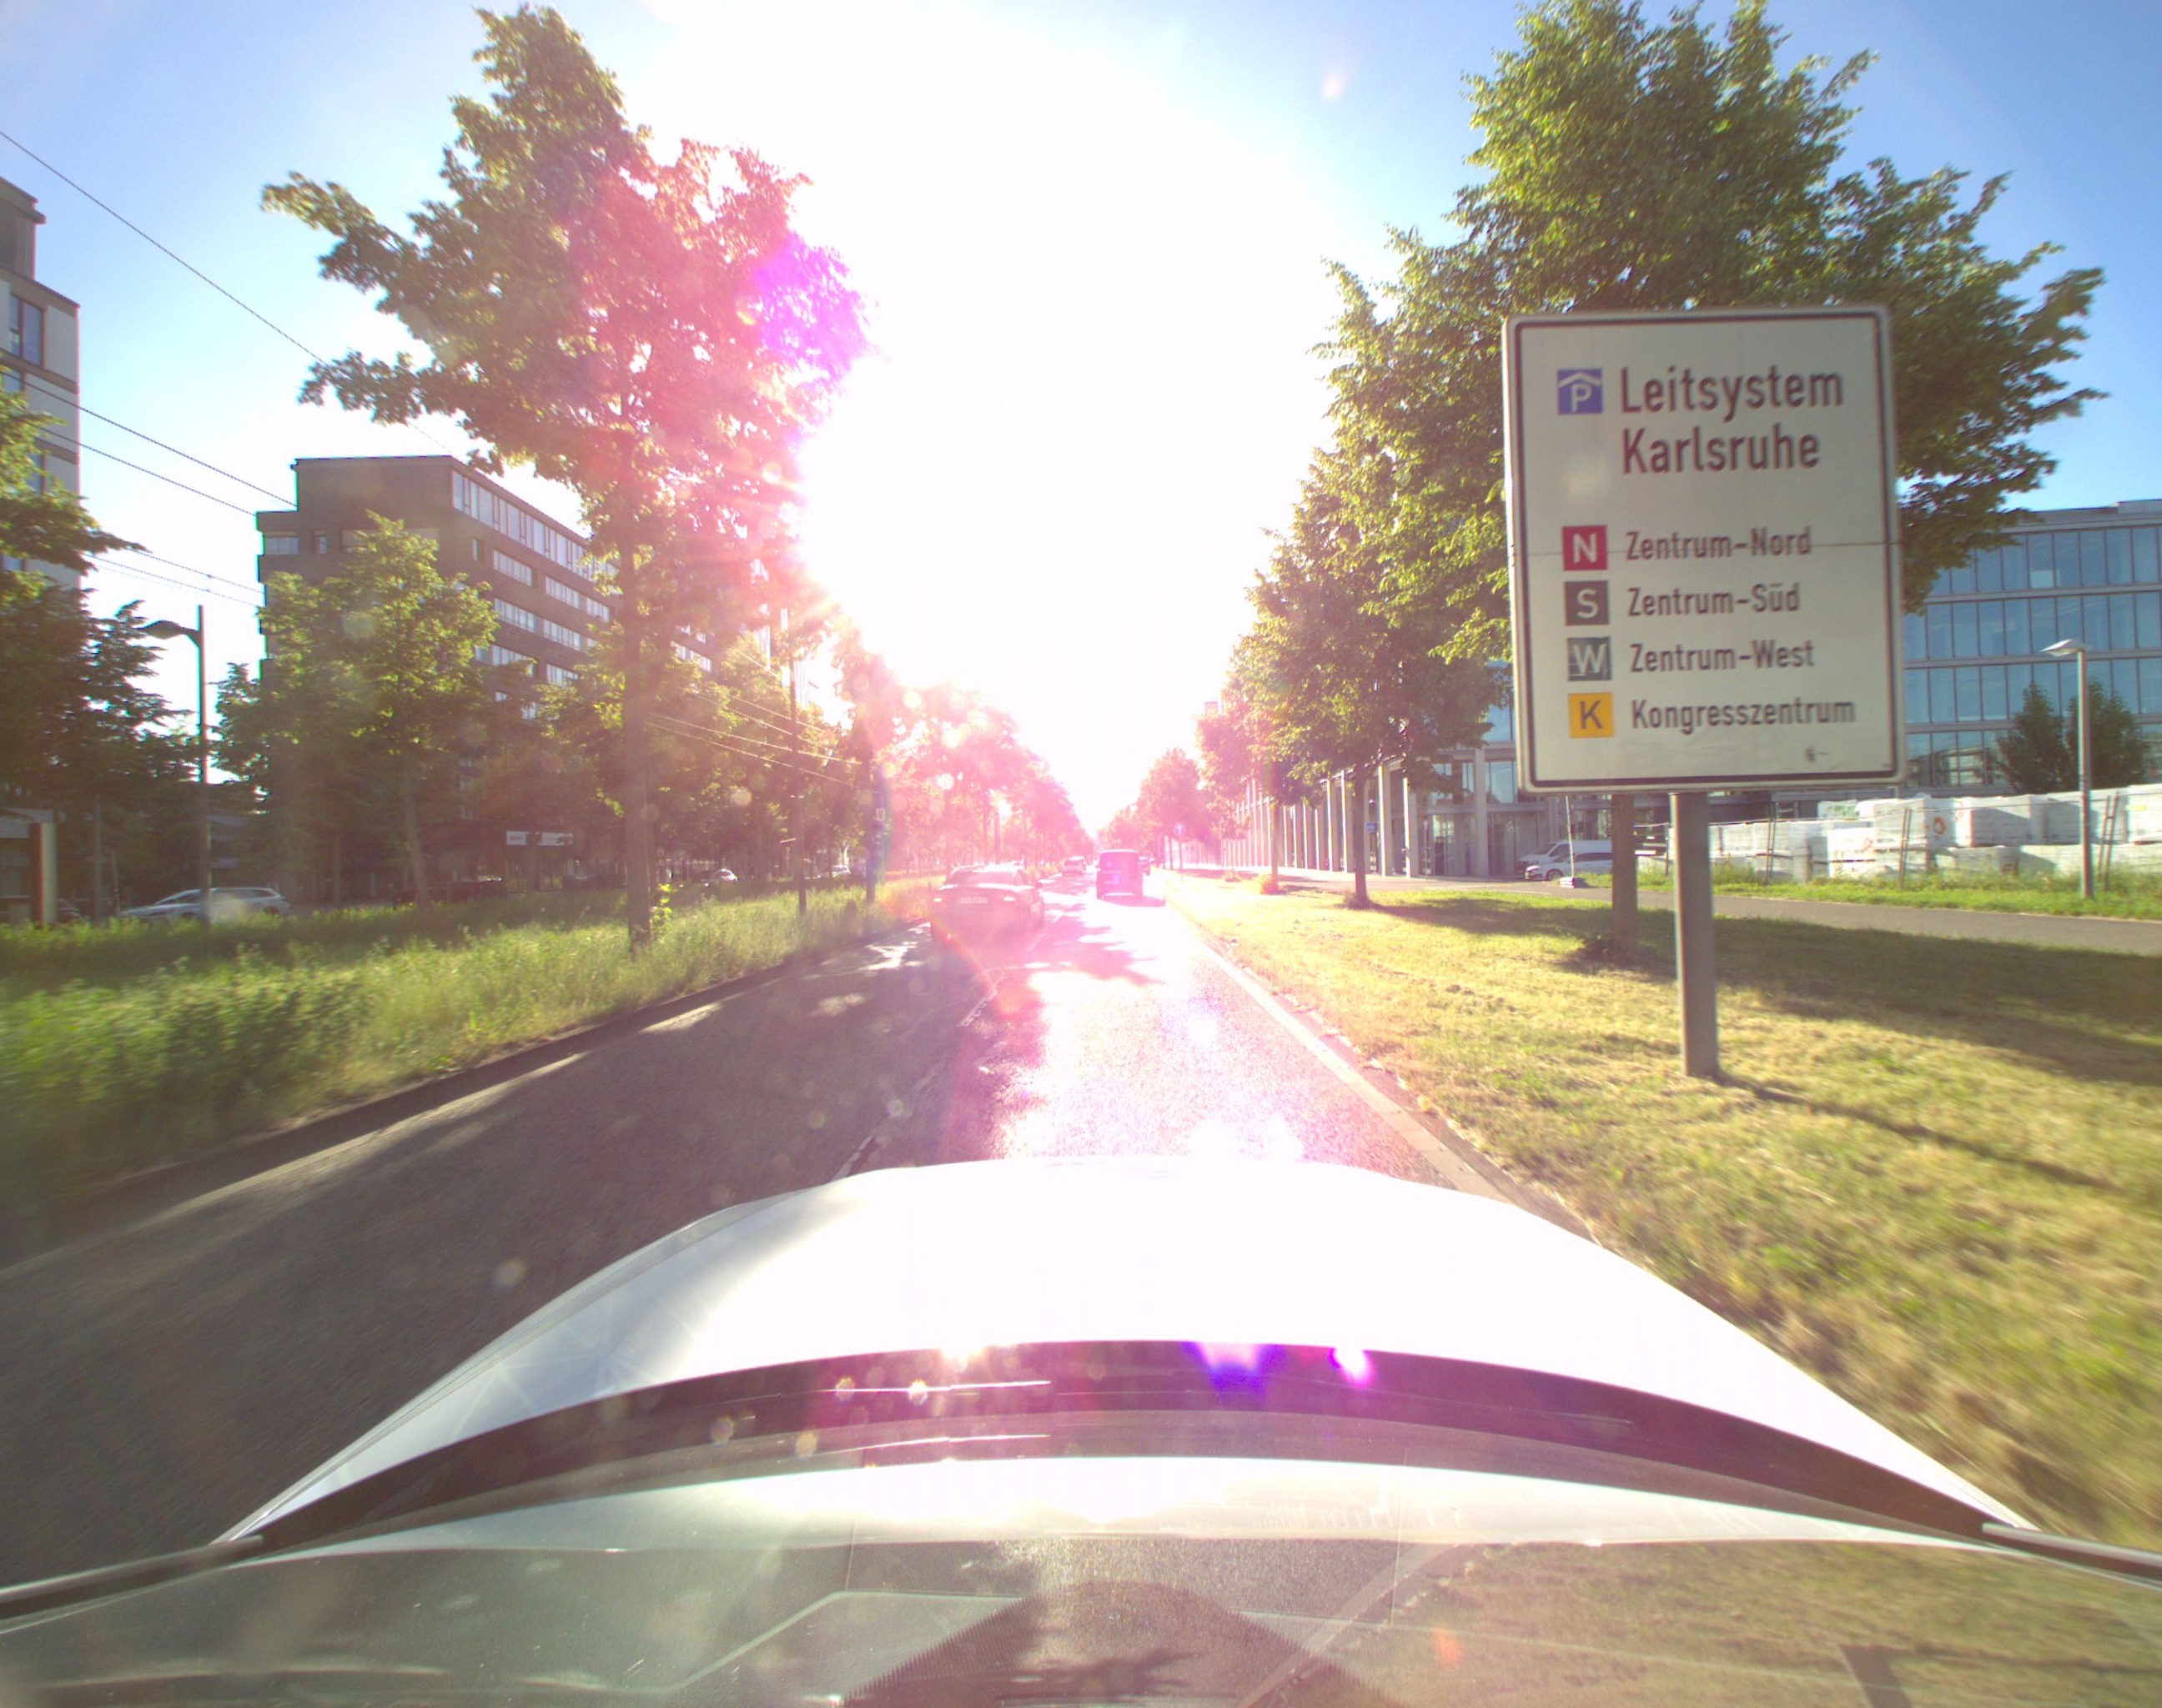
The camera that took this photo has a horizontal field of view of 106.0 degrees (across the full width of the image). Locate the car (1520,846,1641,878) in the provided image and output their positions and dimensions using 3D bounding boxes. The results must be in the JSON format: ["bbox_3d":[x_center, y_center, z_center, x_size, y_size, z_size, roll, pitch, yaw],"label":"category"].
[{"bbox_3d":[23.107,0.348,37.870,4.481,1.393,1.780,0,1,13],"label":"car"}]

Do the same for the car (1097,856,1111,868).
[{"bbox_3d":[2.922,0.961,103.670,1.715,1.425,3.817,-1,0,1],"label":"car"}]

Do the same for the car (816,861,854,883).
[{"bbox_3d":[-20.676,1.485,68.631,1.791,1.689,4.322,-1,1,1],"label":"car"}]

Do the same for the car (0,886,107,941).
[{"bbox_3d":[-30.555,1.708,22.480,1.708,1.420,4.549,-1,0,3],"label":"car"}]

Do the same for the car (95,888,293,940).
[{"bbox_3d":[-30.243,1.996,28.011,1.709,1.420,4.547,-2,0,2],"label":"car"}]

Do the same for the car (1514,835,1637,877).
[{"bbox_3d":[25.220,0.101,41.661,5.046,1.982,1.939,-1,0,2],"label":"car"}]

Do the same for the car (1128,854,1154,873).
[{"bbox_3d":[4.916,0.766,67.335,1.716,1.425,3.814,0,1,-2],"label":"car"}]

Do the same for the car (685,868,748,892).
[{"bbox_3d":[-21.216,1.490,47.569,1.791,1.263,4.001,-1,0,1],"label":"car"}]

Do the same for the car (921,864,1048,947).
[{"bbox_3d":[-1.708,0.899,15.759,1.713,1.366,4.149,-1,-1,4],"label":"car"}]

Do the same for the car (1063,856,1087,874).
[{"bbox_3d":[-0.531,0.925,70.513,1.936,1.441,3.999,-1,0,-1],"label":"car"}]

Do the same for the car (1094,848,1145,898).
[{"bbox_3d":[1.437,0.687,31.489,1.791,1.777,4.001,-1,0,1],"label":"car"}]

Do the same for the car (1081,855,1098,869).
[{"bbox_3d":[1.038,0.919,96.316,1.835,1.534,3.942,-1,0,3],"label":"car"}]
